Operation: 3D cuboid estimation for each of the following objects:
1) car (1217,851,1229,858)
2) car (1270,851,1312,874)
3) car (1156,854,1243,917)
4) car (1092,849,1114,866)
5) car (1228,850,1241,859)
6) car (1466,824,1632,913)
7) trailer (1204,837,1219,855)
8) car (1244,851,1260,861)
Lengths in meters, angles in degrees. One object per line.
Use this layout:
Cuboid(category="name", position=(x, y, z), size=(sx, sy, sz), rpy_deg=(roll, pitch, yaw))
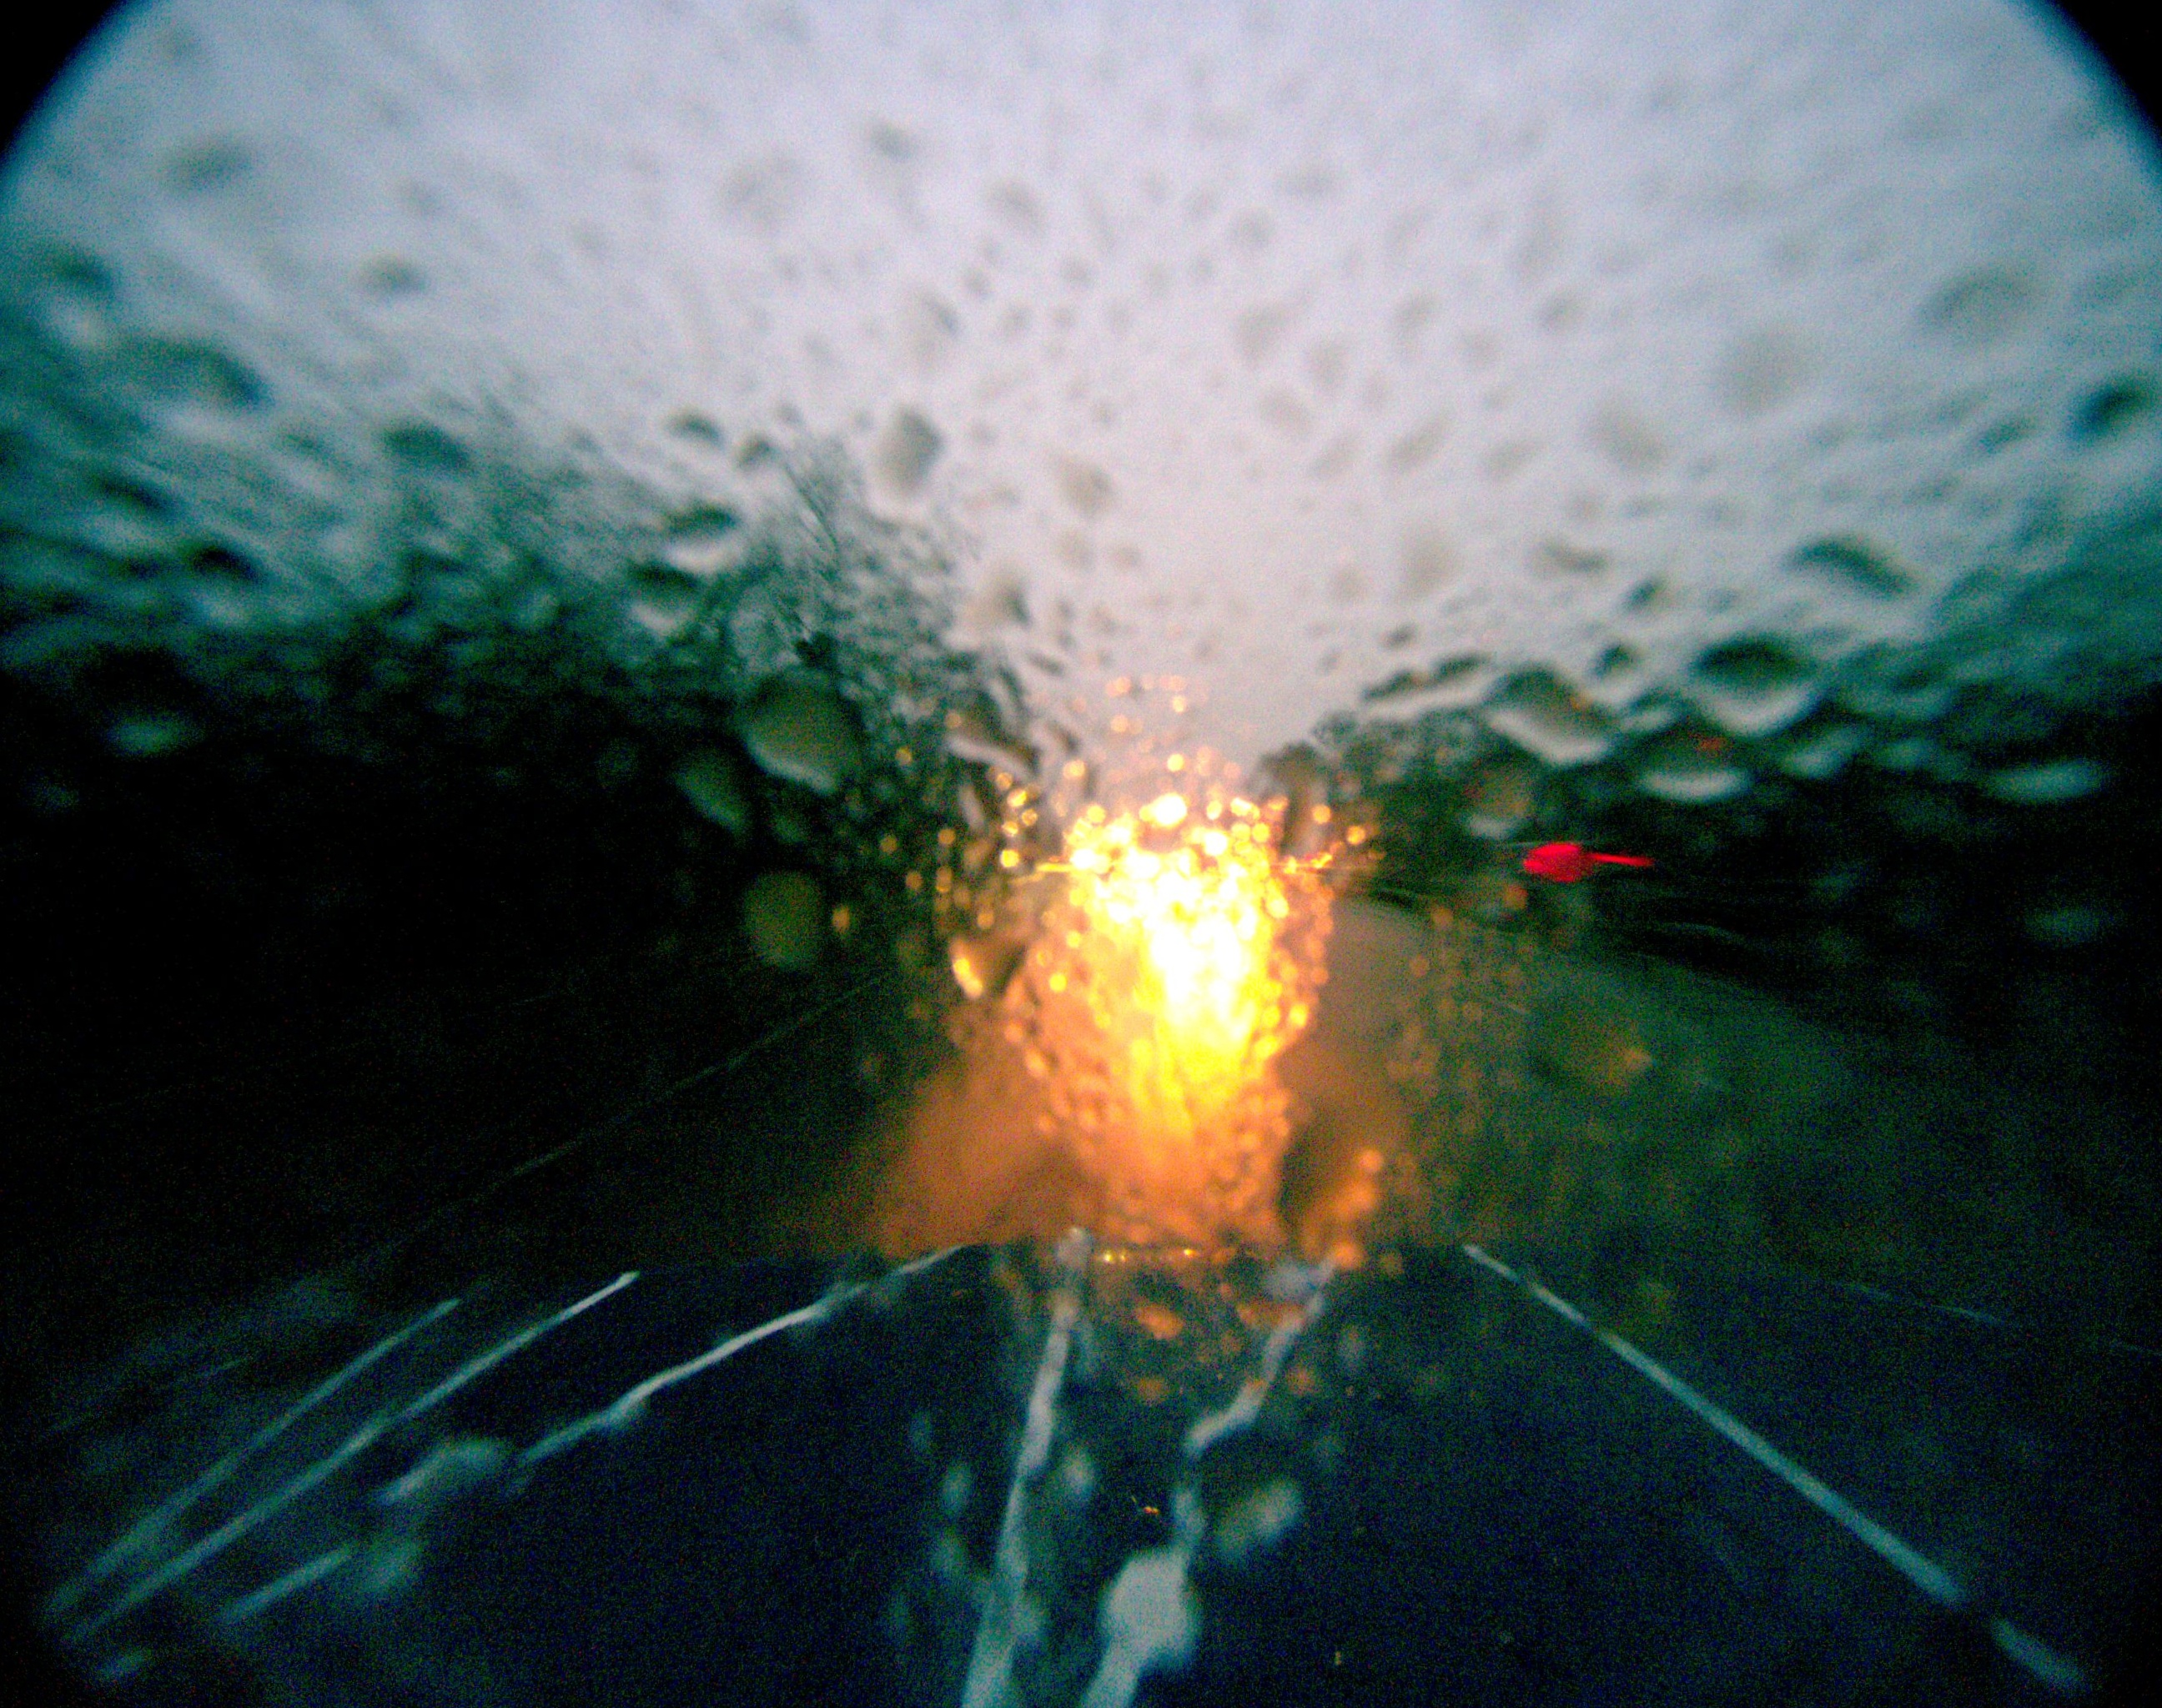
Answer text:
Cuboid(category="car", position=(27.404, 0.070, 146.795), size=(1.714, 1.314, 4.473), rpy_deg=(-3, 0, 3))
Cuboid(category="car", position=(15.328, 0.590, 55.786), size=(1.846, 1.647, 4.669), rpy_deg=(-1, 0, 1))
Cuboid(category="car", position=(3.141, 0.775, 21.088), size=(1.952, 1.511, 4.788), rpy_deg=(0, 0, 4))
Cuboid(category="car", position=(2.115, 0.343, 73.859), size=(1.841, 1.553, 3.867), rpy_deg=(-3, 0, -1))
Cuboid(category="car", position=(26.333, 0.097, 130.121), size=(1.549, 1.314, 4.258), rpy_deg=(-3, 0, 3))
Cuboid(category="car", position=(13.337, 0.359, 22.116), size=(1.979, 2.268, 5.050), rpy_deg=(-1, 0, 4))
Cuboid(category="trailer", position=(36.466, -2.303, 212.879), size=(3.496, 4.819, 13.485), rpy_deg=(-3, 0, 7))
Cuboid(category="car", position=(25.047, 0.292, 111.360), size=(1.549, 1.264, 4.687), rpy_deg=(-3, 0, 3))
